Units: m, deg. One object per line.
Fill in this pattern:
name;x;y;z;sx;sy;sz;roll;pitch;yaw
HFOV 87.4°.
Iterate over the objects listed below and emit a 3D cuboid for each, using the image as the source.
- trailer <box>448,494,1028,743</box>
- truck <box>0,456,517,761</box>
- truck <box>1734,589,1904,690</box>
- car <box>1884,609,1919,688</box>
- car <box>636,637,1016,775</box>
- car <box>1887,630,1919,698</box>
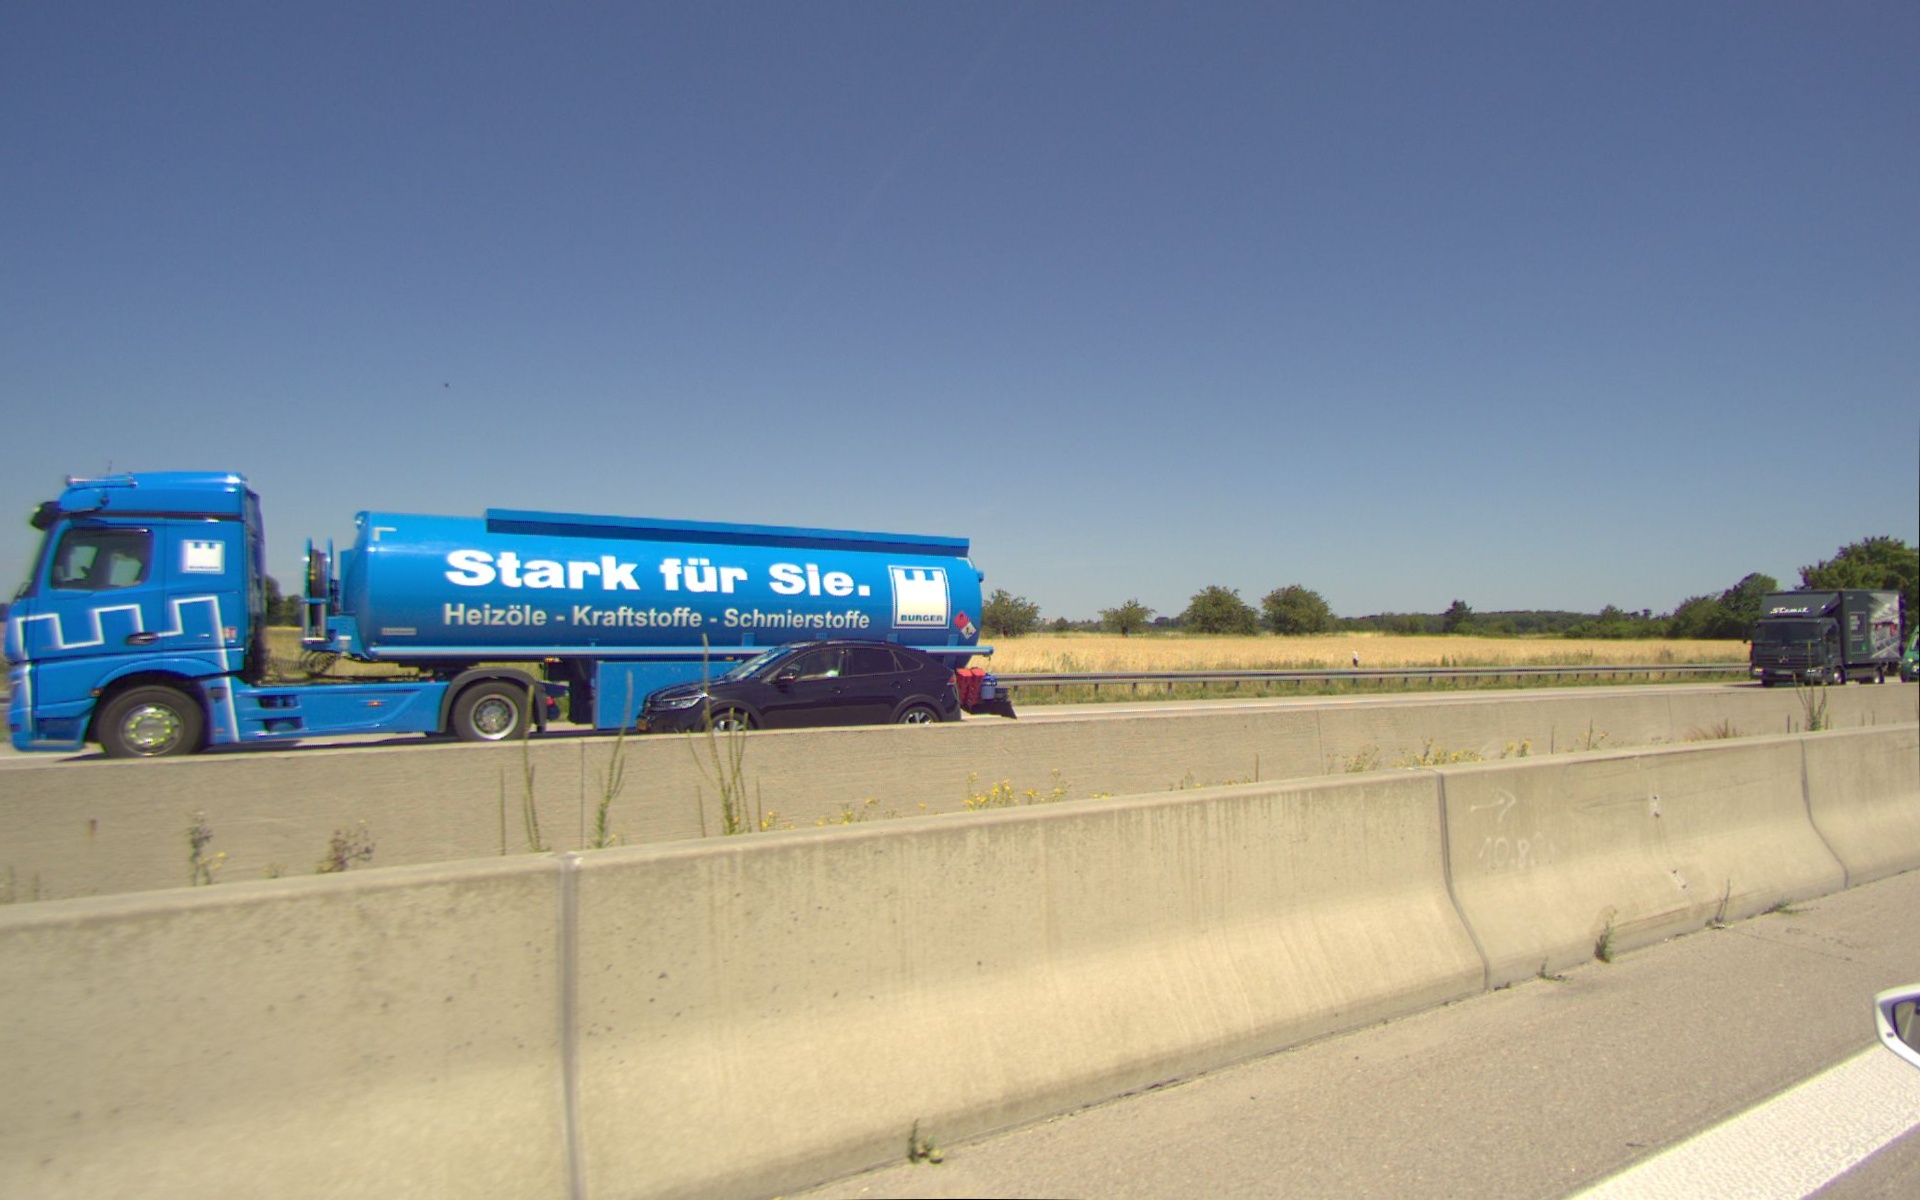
trailer;-3.349;0.324;16.826;9.146;3.316;2.502;1;0;-31
truck;-8.930;0.135;13.445;5.203;3.354;2.471;1;0;-31
truck;33.045;1.520;38.570;7.792;3.558;2.543;1;-2;-30
car;33.952;1.645;34.012;6.388;2.584;2.139;2;-2;-30
car;-1.676;1.273;13.213;4.653;1.467;1.711;1;0;-31
car;25.043;1.591;24.724;4.831;1.578;1.931;1;0;-30
